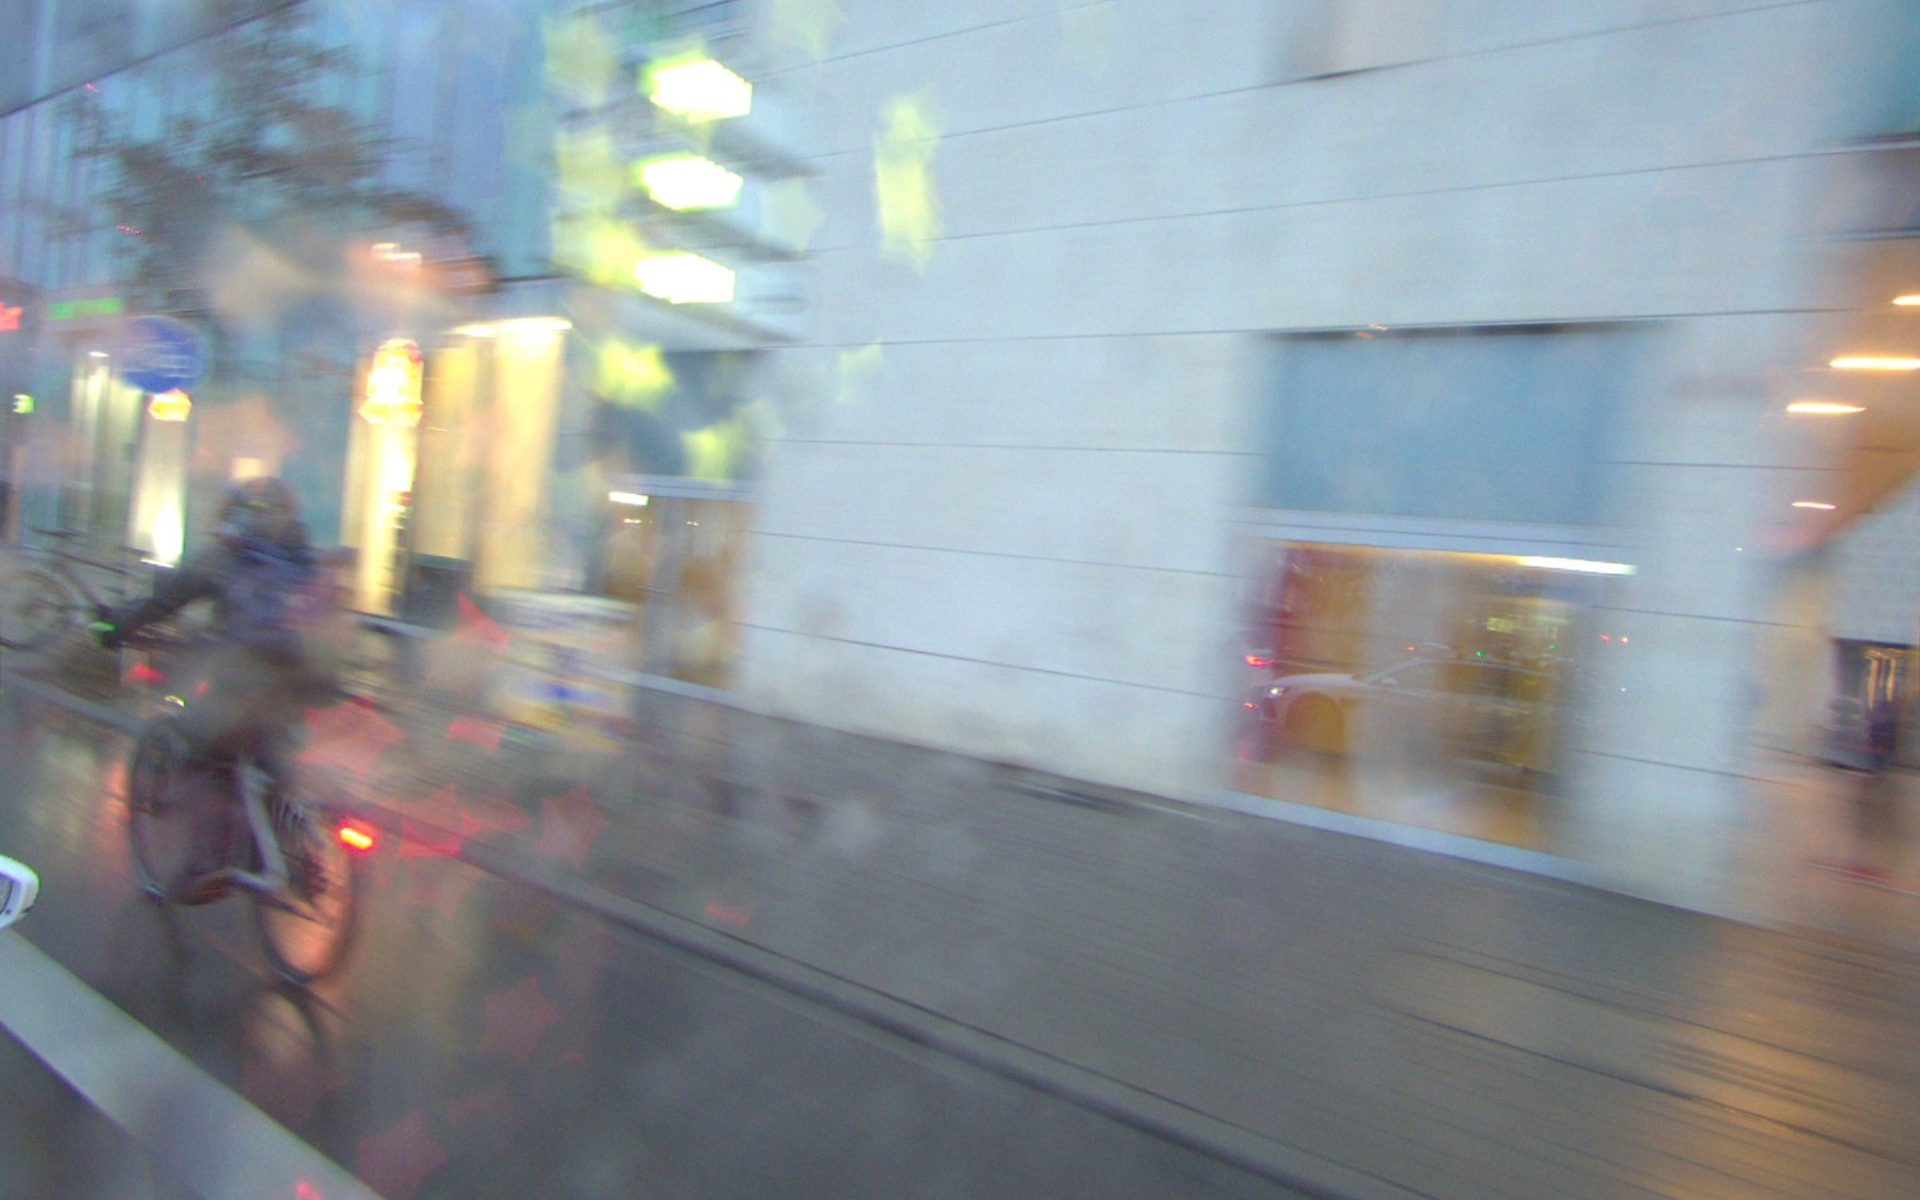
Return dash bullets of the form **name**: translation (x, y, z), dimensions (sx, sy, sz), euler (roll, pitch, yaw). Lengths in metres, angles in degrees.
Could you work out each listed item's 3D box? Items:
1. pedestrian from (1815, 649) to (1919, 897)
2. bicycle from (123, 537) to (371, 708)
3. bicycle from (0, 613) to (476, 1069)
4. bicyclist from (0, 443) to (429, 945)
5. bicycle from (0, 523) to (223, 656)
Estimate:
- **pedestrian**: translation (7.384, 1.348, 7.988), dimensions (0.613, 1.827, 0.615), euler (8, 1, 31)
- **bicycle**: translation (-6.211, 0.201, 8.849), dimensions (1.534, 1.277, 0.665), euler (7, 0, -13)
- **bicycle**: translation (-2.874, 0.685, 3.704), dimensions (2.205, 1.011, 0.943), euler (7, 0, 36)
- **bicyclist**: translation (-2.734, 0.269, 3.636), dimensions (1.050, 1.481, 0.943), euler (7, 0, 35)
- **bicycle**: translation (-8.632, -0.086, 10.043), dimensions (0.655, 1.190, 1.905), euler (7, 2, 30)
